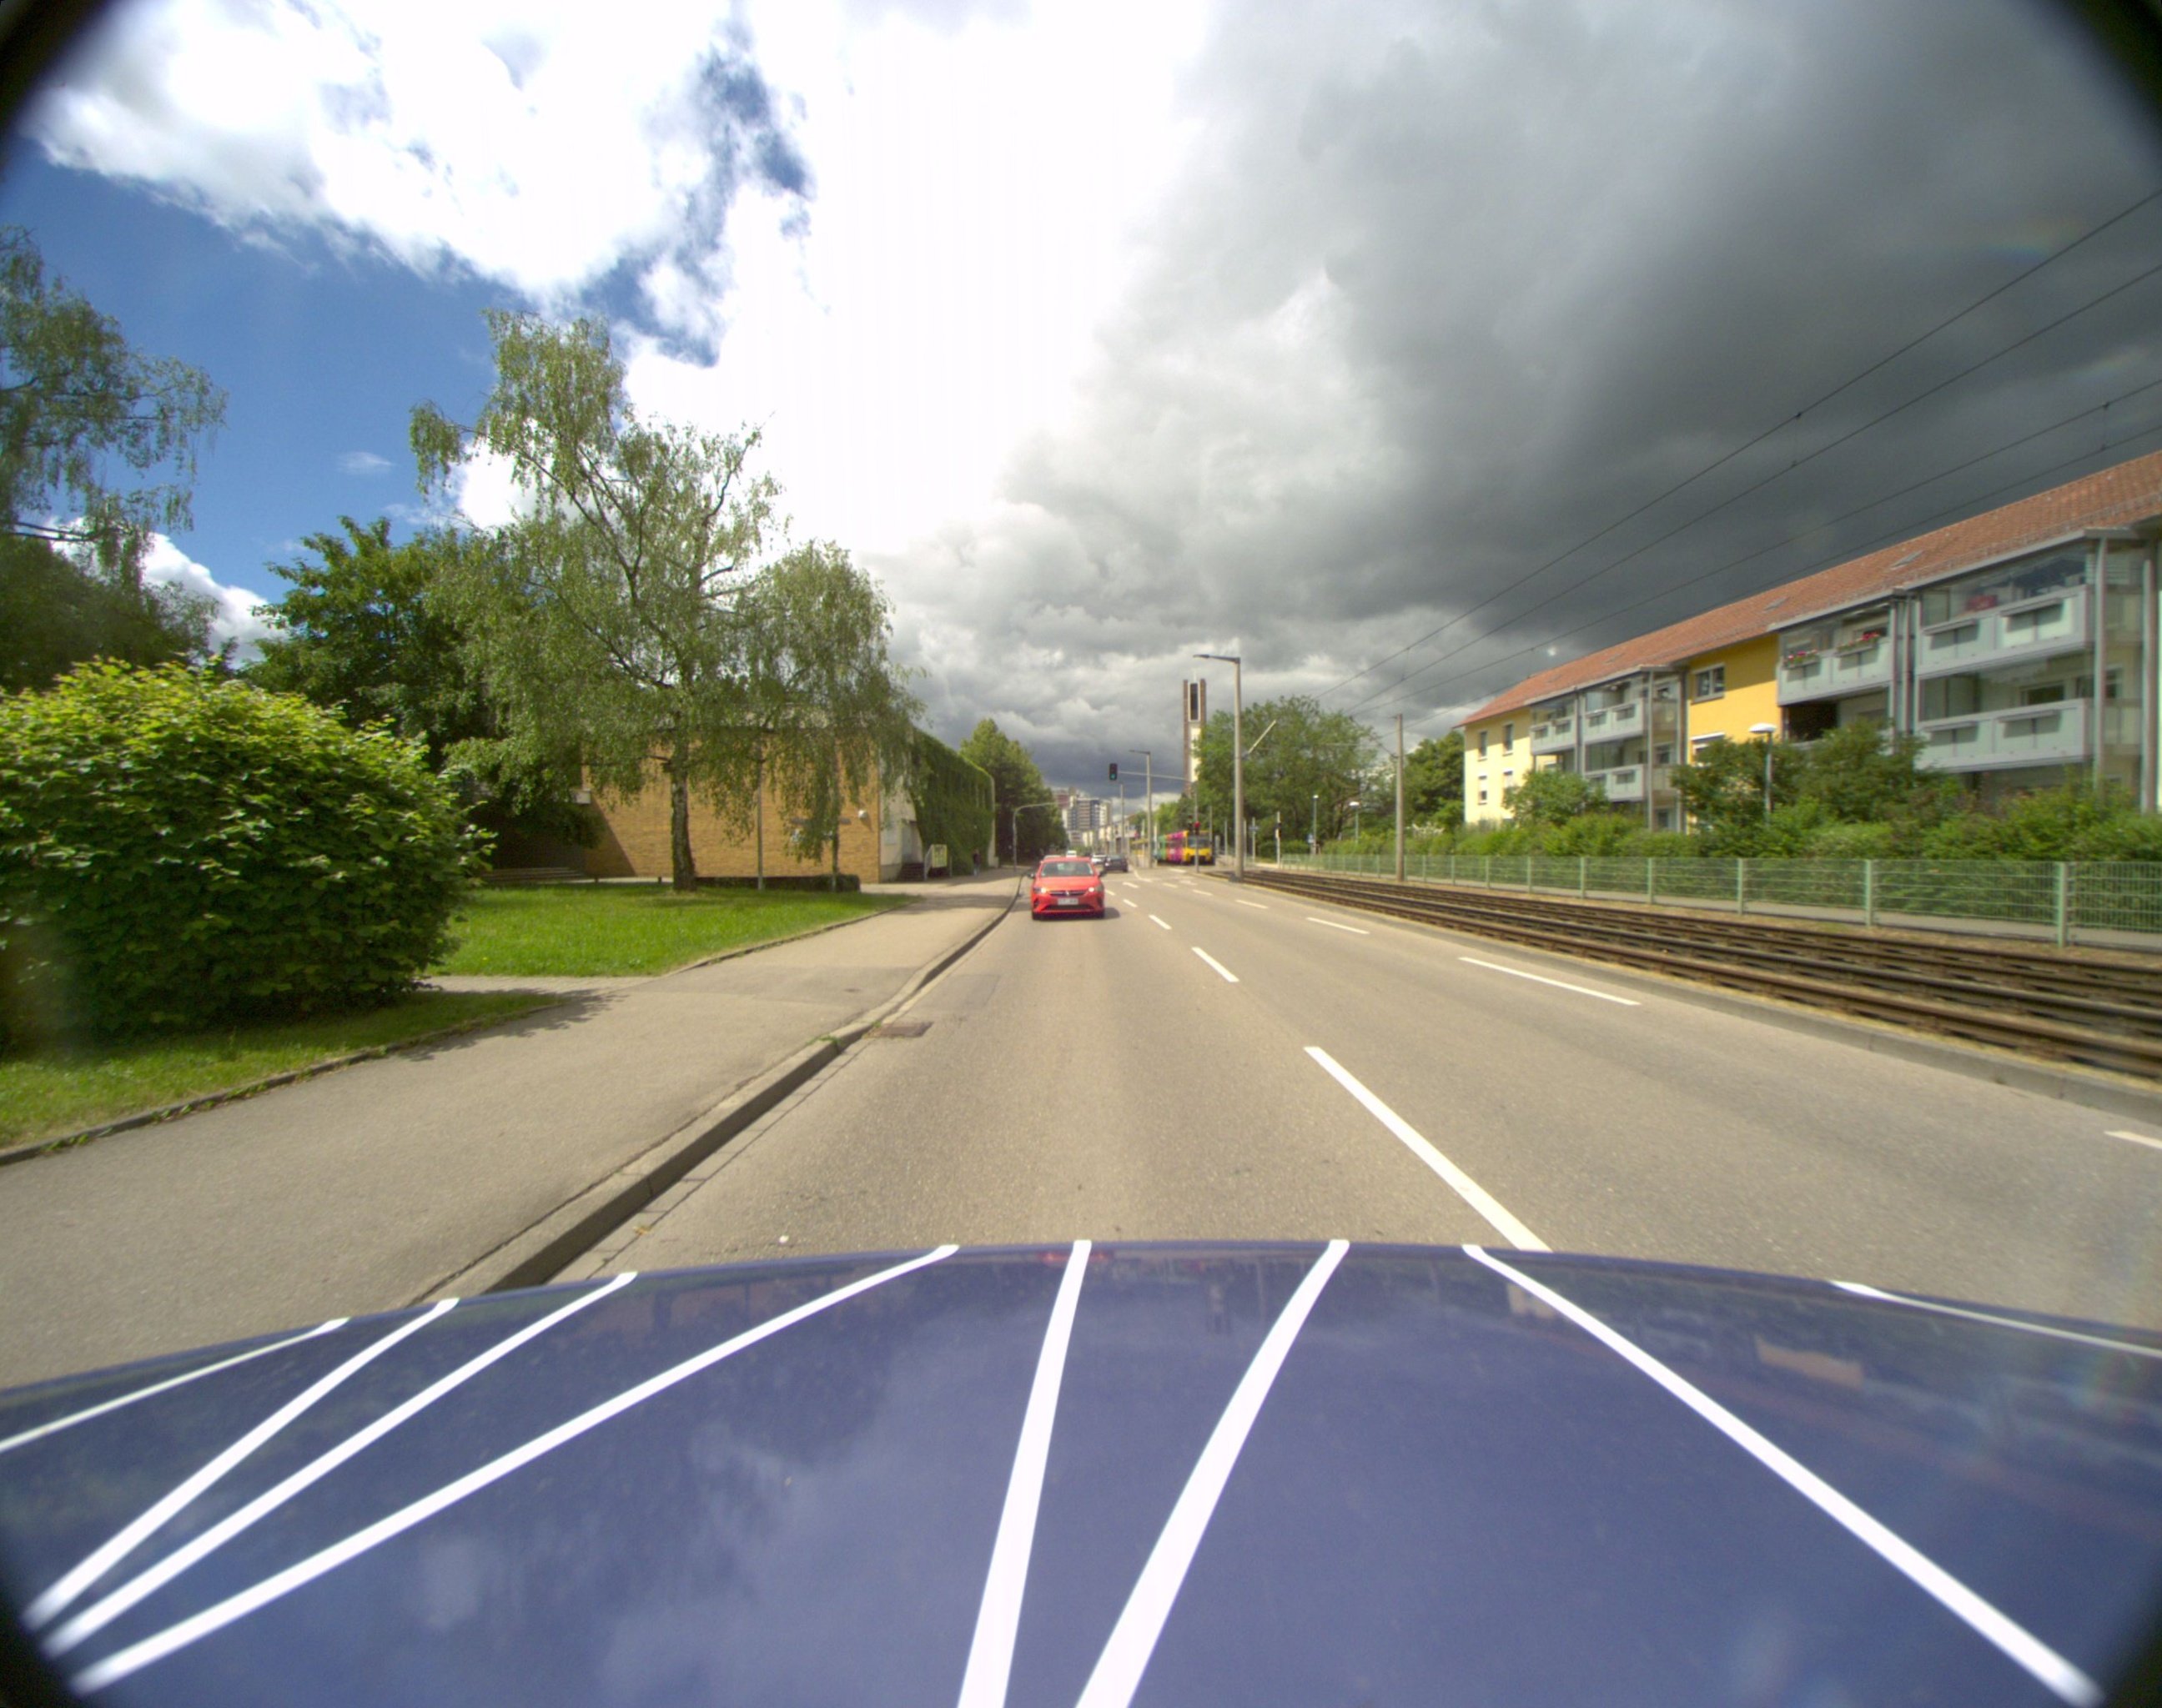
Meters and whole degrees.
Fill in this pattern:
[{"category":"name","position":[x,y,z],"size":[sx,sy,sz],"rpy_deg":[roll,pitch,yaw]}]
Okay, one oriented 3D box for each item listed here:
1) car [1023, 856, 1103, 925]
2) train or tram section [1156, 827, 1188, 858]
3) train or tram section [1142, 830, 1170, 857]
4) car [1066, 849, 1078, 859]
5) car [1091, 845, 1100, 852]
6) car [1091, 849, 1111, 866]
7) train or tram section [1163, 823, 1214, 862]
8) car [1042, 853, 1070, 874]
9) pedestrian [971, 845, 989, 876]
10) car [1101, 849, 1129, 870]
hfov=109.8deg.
[{"category":"car","position":[-0.335,0.822,19.130],"size":[1.756,1.433,4.226],"rpy_deg":[-1,1,2]},{"category":"train or tram section","position":[11.805,-1.472,99.105],"size":[2.988,3.840,8.376],"rpy_deg":[-2,1,0]},{"category":"train or tram section","position":[11.800,-1.653,120.497],"size":[2.988,3.840,12.198],"rpy_deg":[-2,1,0]},{"category":"car","position":[-1.406,0.034,120.268],"size":[1.821,1.433,4.007],"rpy_deg":[-1,1,-2]},{"category":"car","position":[2.824,-1.063,148.679],"size":[1.722,1.433,4.008],"rpy_deg":[-1,1,-1]},{"category":"car","position":[2.039,0.333,77.958],"size":[1.765,1.543,3.998],"rpy_deg":[-2,1,-2]},{"category":"train or tram section","position":[11.812,-1.298,85.525],"size":[2.988,3.840,18.534],"rpy_deg":[-2,1,0]},{"category":"car","position":[-1.810,0.668,55.545],"size":[1.756,1.433,4.226],"rpy_deg":[-1,1,2]},{"category":"pedestrian","position":[-5.930,0.377,44.620],"size":[0.811,1.761,0.817],"rpy_deg":[2,2,6]},{"category":"car","position":[2.440,0.392,55.356],"size":[1.633,1.424,4.166],"rpy_deg":[-2,1,-2]}]
